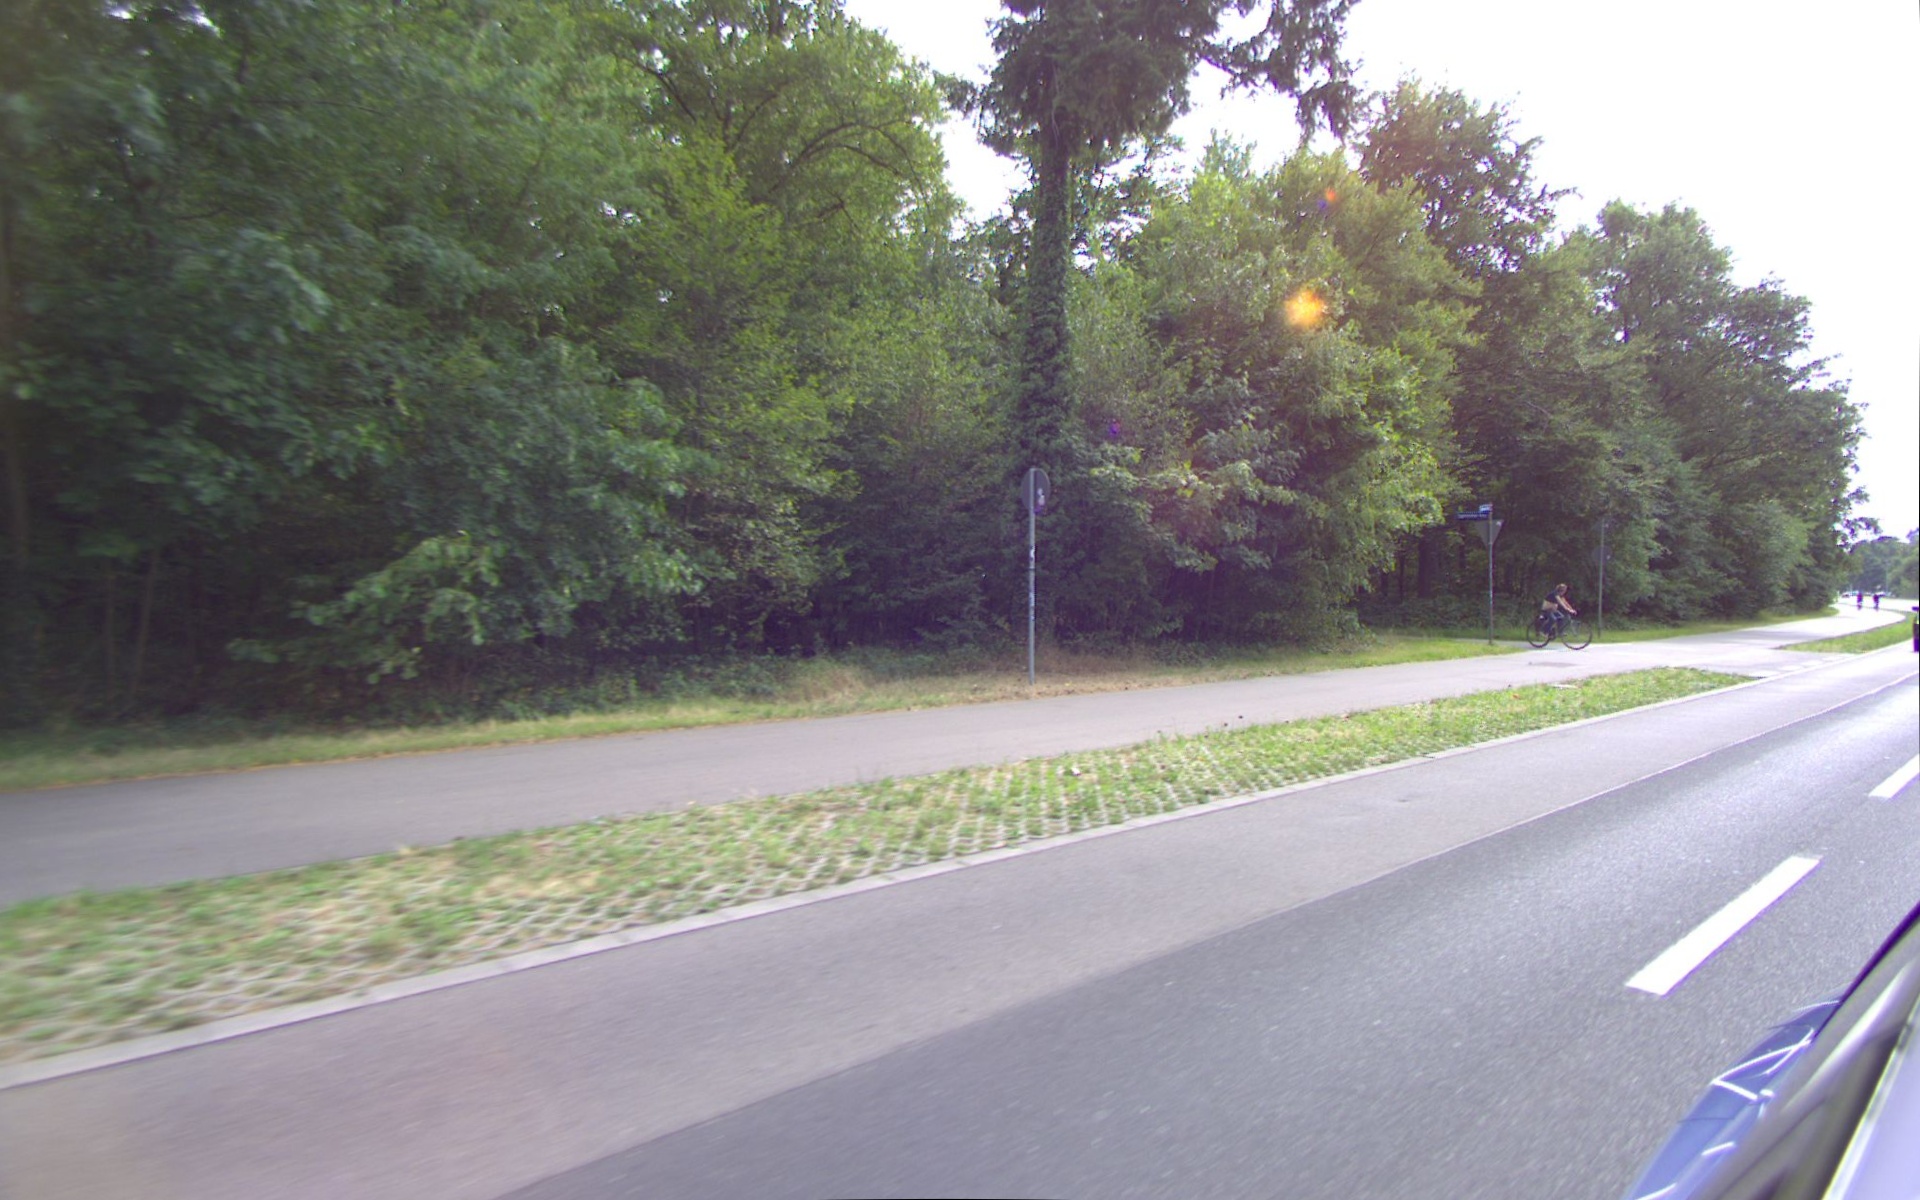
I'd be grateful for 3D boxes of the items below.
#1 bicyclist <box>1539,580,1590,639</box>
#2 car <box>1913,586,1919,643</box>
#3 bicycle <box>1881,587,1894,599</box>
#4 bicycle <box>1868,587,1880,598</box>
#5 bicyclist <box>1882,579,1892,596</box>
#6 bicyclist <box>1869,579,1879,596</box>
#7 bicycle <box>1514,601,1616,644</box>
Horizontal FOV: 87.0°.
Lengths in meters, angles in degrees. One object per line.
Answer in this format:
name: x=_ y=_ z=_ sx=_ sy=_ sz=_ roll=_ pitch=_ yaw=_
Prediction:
bicyclist: x=15.530 y=0.237 z=26.009 sx=0.697 sy=1.489 sz=0.902 roll=0 pitch=1 yaw=-33
car: x=28.902 y=0.350 z=28.918 sx=3.931 sy=1.594 sz=1.997 roll=-2 pitch=0 yaw=-41
bicycle: x=79.874 y=-0.604 z=87.173 sx=0.564 sy=0.923 sz=1.731 roll=4 pitch=3 yaw=37
bicycle: x=79.192 y=-0.623 z=87.692 sx=0.564 sy=0.923 sz=1.862 roll=4 pitch=2 yaw=37
bicyclist: x=79.866 y=-1.074 z=87.190 sx=0.518 sy=1.433 sz=1.171 roll=1 pitch=1 yaw=37
bicyclist: x=79.234 y=-1.098 z=87.743 sx=0.518 sy=1.433 sz=1.171 roll=-1 pitch=0 yaw=37
bicycle: x=15.524 y=0.562 z=26.028 sx=0.697 sy=1.006 sz=2.182 roll=0 pitch=1 yaw=-33
